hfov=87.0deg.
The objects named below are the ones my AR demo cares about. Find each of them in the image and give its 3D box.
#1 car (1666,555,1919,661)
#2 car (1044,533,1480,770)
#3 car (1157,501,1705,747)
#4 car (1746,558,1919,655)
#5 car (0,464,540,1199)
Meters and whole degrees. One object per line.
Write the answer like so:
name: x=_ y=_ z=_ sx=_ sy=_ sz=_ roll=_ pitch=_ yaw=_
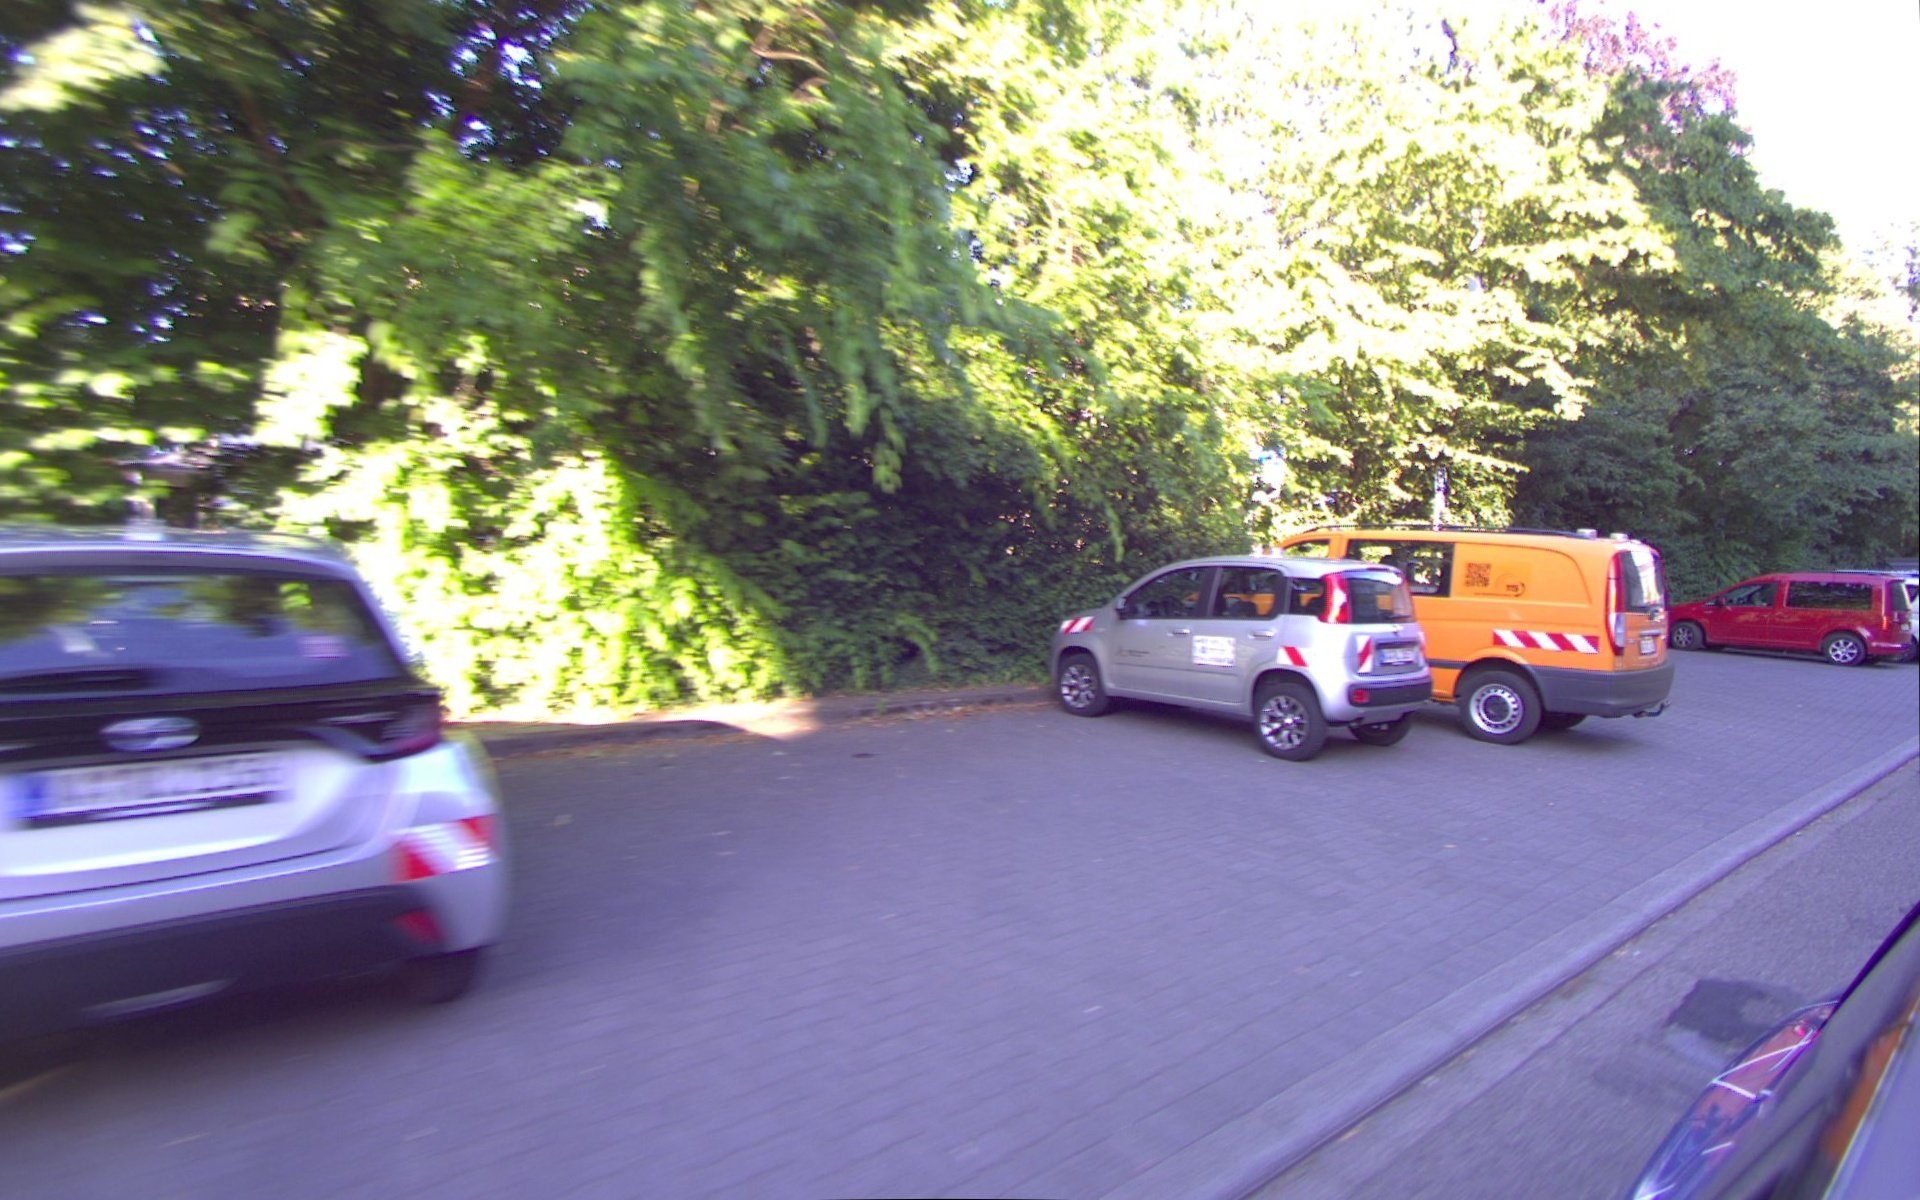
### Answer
car: x=17.516 y=0.077 z=21.203 sx=1.882 sy=1.885 sz=3.988 roll=0 pitch=4 yaw=-34
car: x=2.547 y=0.282 z=9.169 sx=1.649 sy=1.651 sz=3.407 roll=0 pitch=4 yaw=-38
car: x=4.707 y=0.018 z=10.774 sx=2.045 sy=2.022 sz=4.805 roll=0 pitch=4 yaw=-42
car: x=19.812 y=0.105 z=22.212 sx=1.749 sy=1.906 sz=3.615 roll=0 pitch=4 yaw=-35
car: x=-3.031 y=0.359 z=3.828 sx=1.703 sy=1.565 sz=4.000 roll=0 pitch=4 yaw=-37
